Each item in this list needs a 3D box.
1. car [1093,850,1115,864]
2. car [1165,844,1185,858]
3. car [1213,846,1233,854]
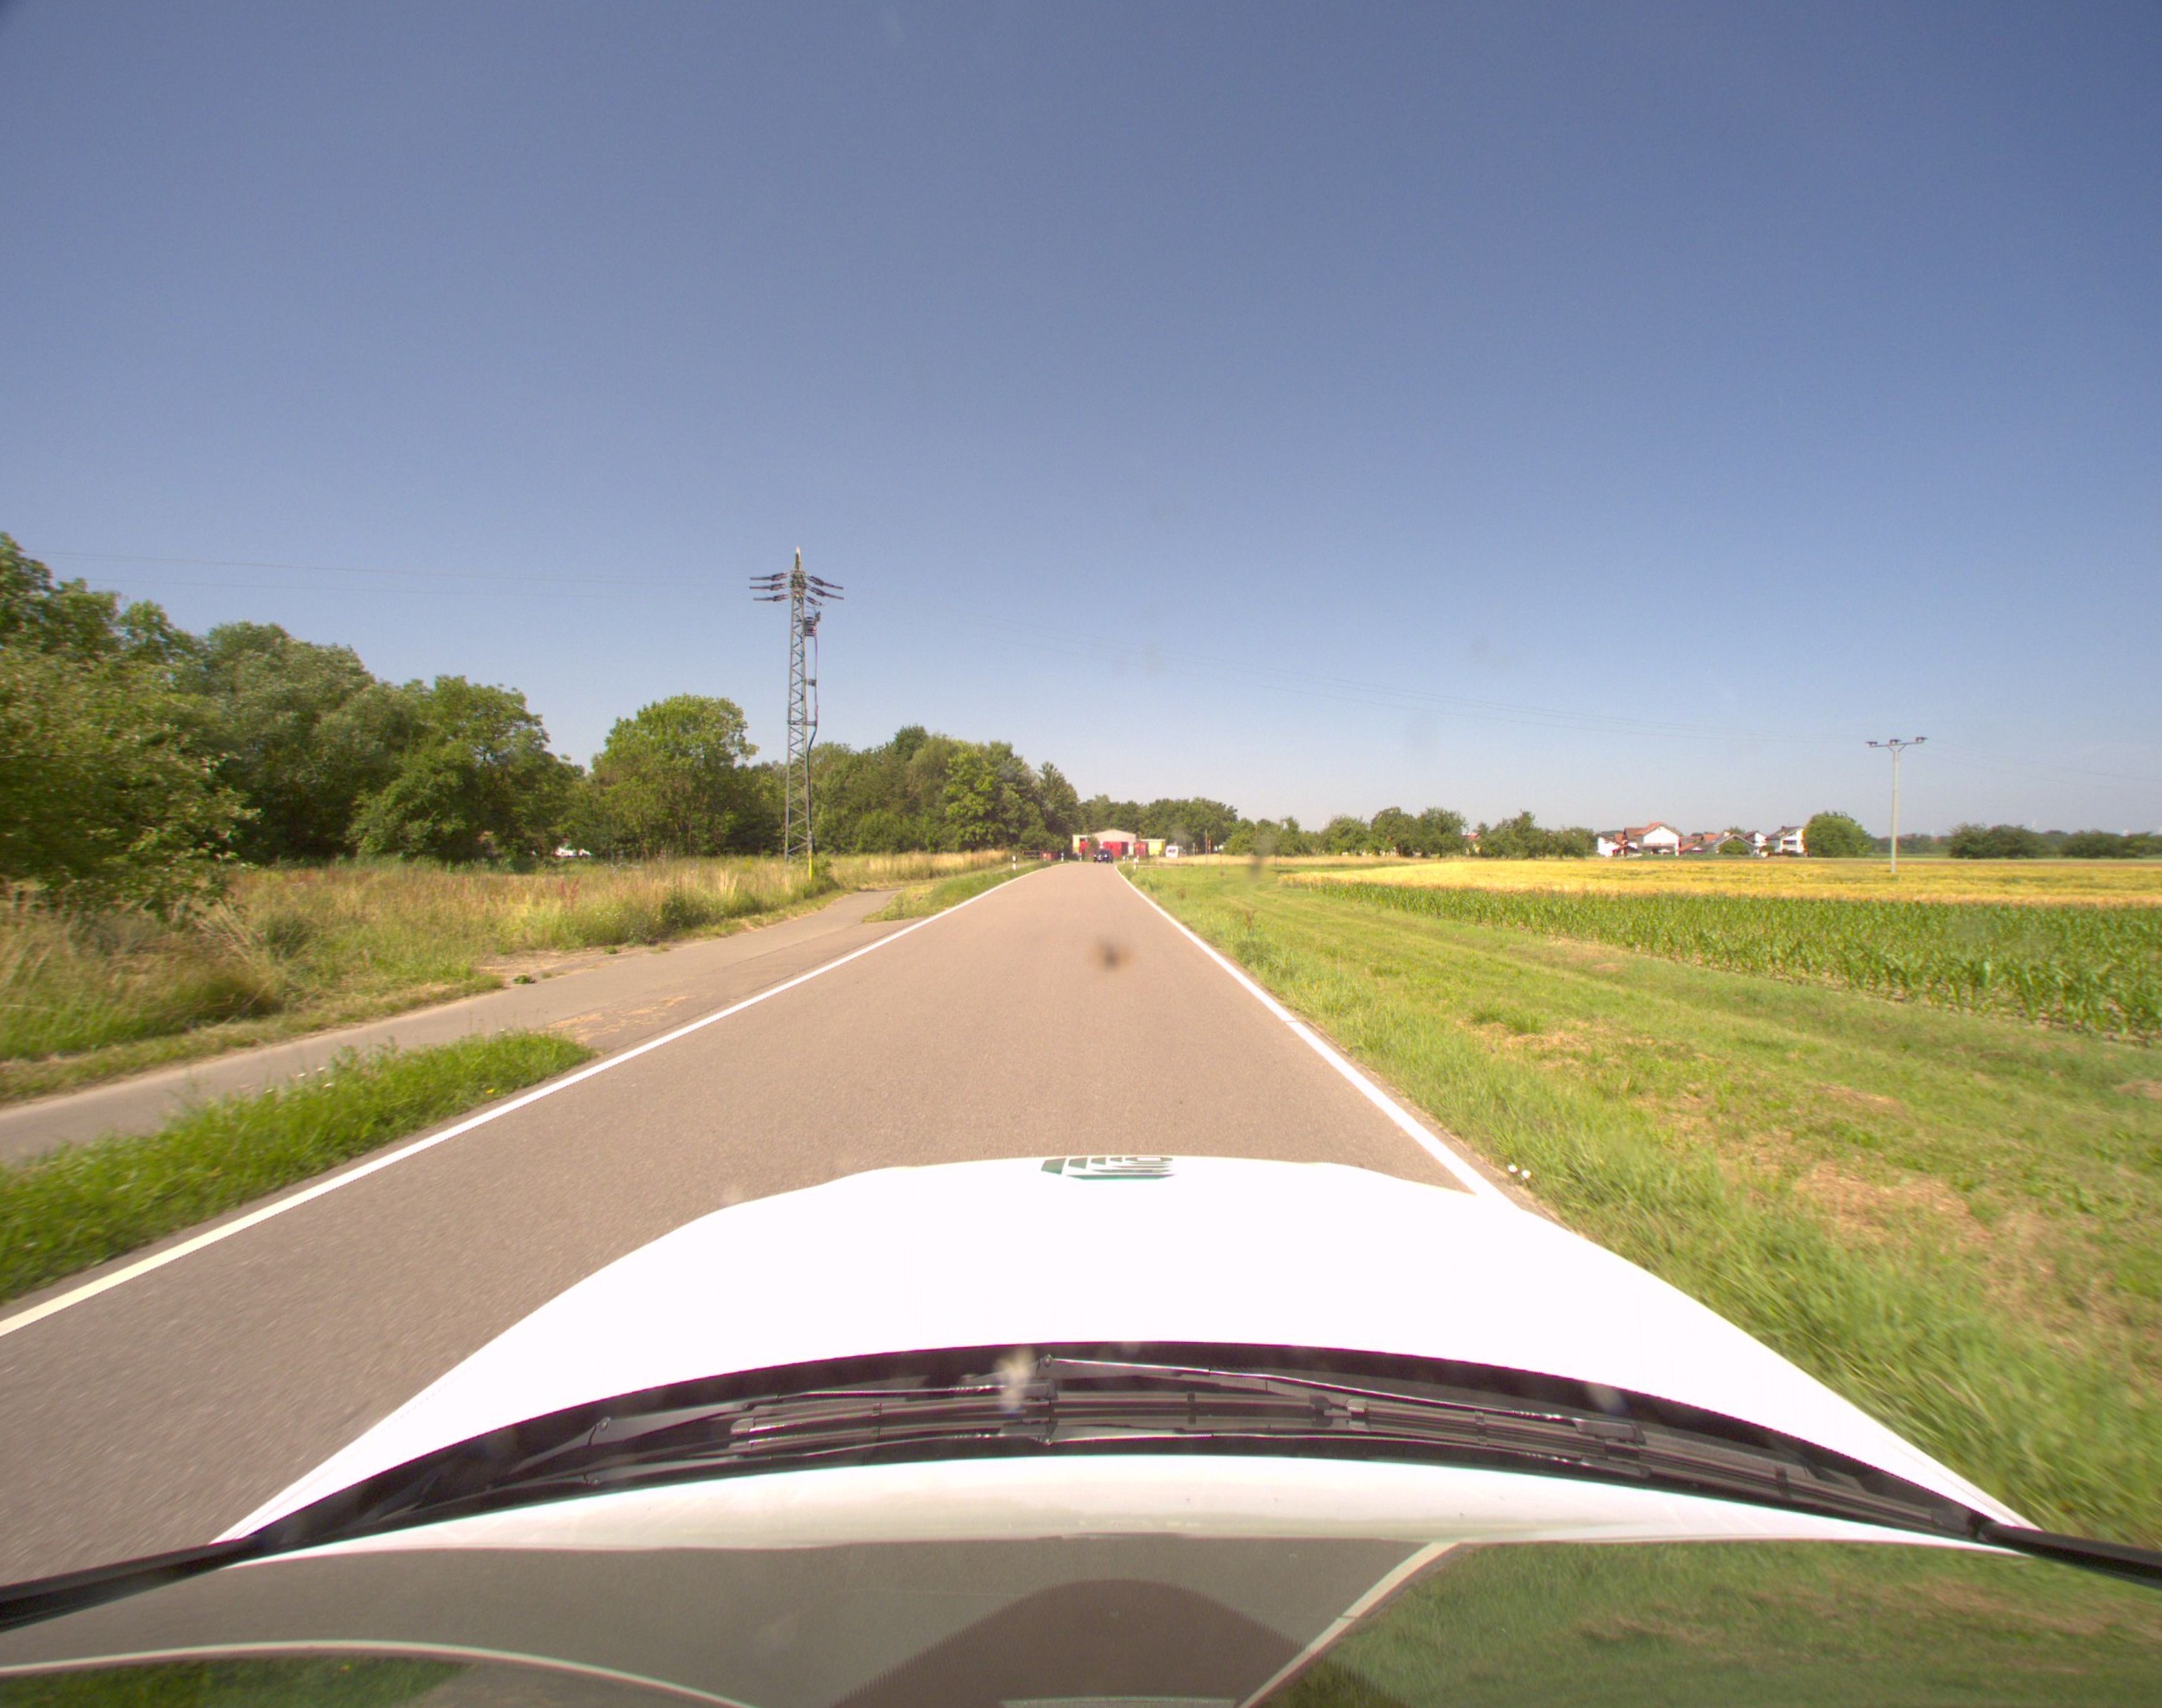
[{"bbox_3d":[2.966,0.345,102.618,1.852,1.753,4.313,0,0,14],"label":"car"},{"bbox_3d":[15.237,-0.510,131.798,1.976,2.266,4.751,0,0,22],"label":"car"},{"bbox_3d":[41.614,-1.238,239.107,5.608,2.266,1.988,0,0,-17],"label":"car"}]
